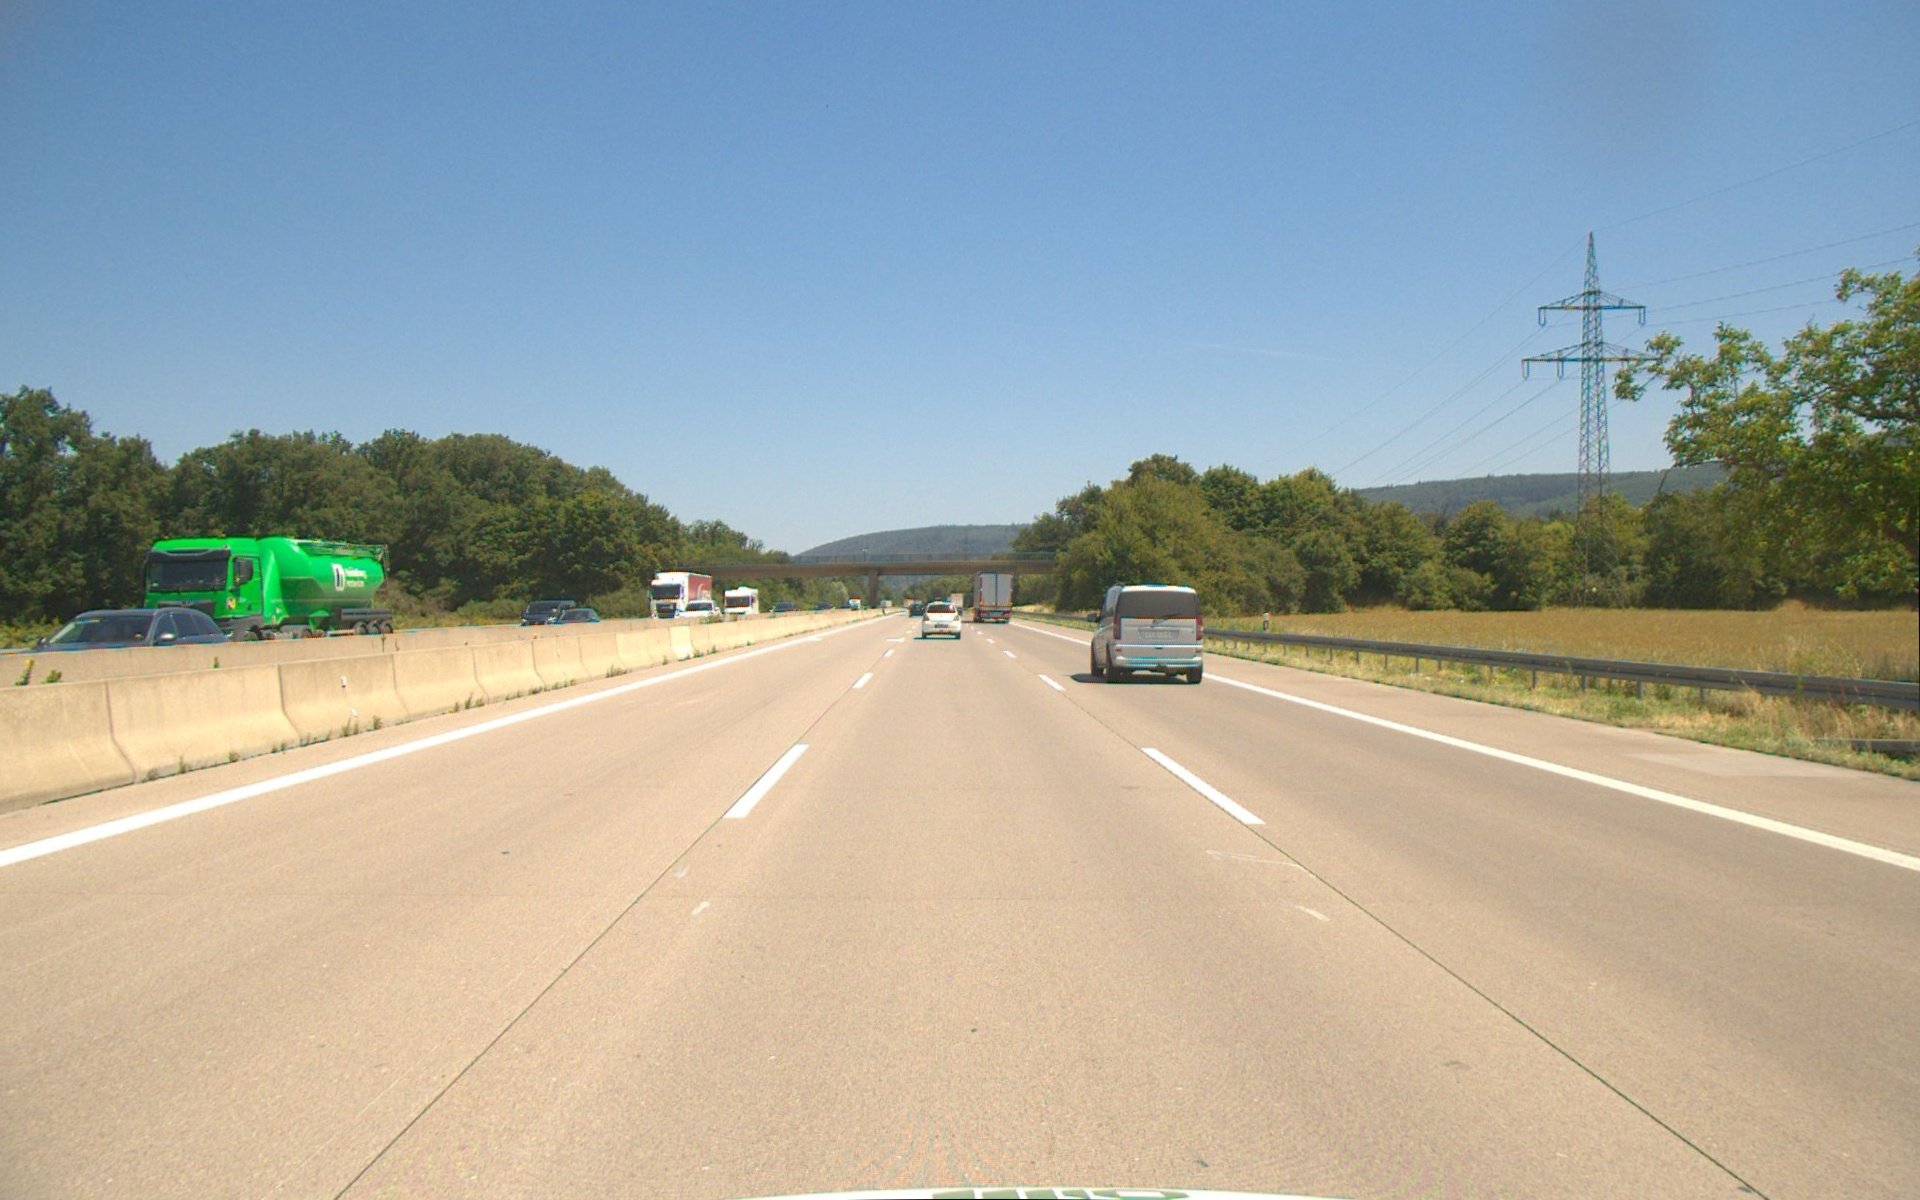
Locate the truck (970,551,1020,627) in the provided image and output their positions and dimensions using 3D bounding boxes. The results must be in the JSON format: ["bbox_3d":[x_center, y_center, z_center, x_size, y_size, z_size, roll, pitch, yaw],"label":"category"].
[{"bbox_3d":[2.757,-0.808,137.962,3.504,5.889,18.243,0,0,-1],"label":"truck"}]

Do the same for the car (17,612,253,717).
[{"bbox_3d":[-12.253,0.907,24.830,1.681,1.425,3.807,0,0,-1],"label":"car"}]

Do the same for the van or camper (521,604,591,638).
[{"bbox_3d":[-21.183,1.066,86.952,2.317,1.650,6.090,-1,0,-2],"label":"van or camper"}]

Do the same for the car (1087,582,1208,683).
[{"bbox_3d":[3.787,0.633,34.249,1.841,1.922,5.278,0,0,-1],"label":"car"}]

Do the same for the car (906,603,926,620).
[{"bbox_3d":[-4.727,1.246,179.149,1.982,1.730,3.997,2,-1,-4],"label":"car"}]

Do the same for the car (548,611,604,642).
[{"bbox_3d":[-17.741,1.223,76.520,1.661,1.356,3.999,-1,0,-1],"label":"car"}]

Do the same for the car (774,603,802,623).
[{"bbox_3d":[-13.687,1.030,131.767,1.757,1.583,4.600,-1,0,-1],"label":"car"}]

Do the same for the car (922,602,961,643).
[{"bbox_3d":[-0.813,0.948,70.894,1.608,1.691,3.359,1,0,-1],"label":"car"}]

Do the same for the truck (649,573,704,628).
[{"bbox_3d":[-21.492,0.010,125.677,2.939,4.052,7.293,-1,0,-1],"label":"truck"}]

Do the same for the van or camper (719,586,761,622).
[{"bbox_3d":[-18.405,0.313,138.839,2.474,2.940,7.936,-1,0,-1],"label":"van or camper"}]

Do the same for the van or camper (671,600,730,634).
[{"bbox_3d":[-13.430,0.853,85.898,2.196,1.722,5.849,0,0,-1],"label":"van or camper"}]

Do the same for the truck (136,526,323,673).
[{"bbox_3d":[-20.971,-0.010,47.868,2.688,3.951,6.203,0,0,-1],"label":"truck"}]

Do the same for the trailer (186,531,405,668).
[{"bbox_3d":[-21.035,-0.004,53.292,2.679,3.945,11.103,0,0,-1],"label":"trailer"}]

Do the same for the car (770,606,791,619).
[{"bbox_3d":[-18.625,1.271,171.883,1.653,1.285,4.790,-1,0,-1],"label":"car"}]
